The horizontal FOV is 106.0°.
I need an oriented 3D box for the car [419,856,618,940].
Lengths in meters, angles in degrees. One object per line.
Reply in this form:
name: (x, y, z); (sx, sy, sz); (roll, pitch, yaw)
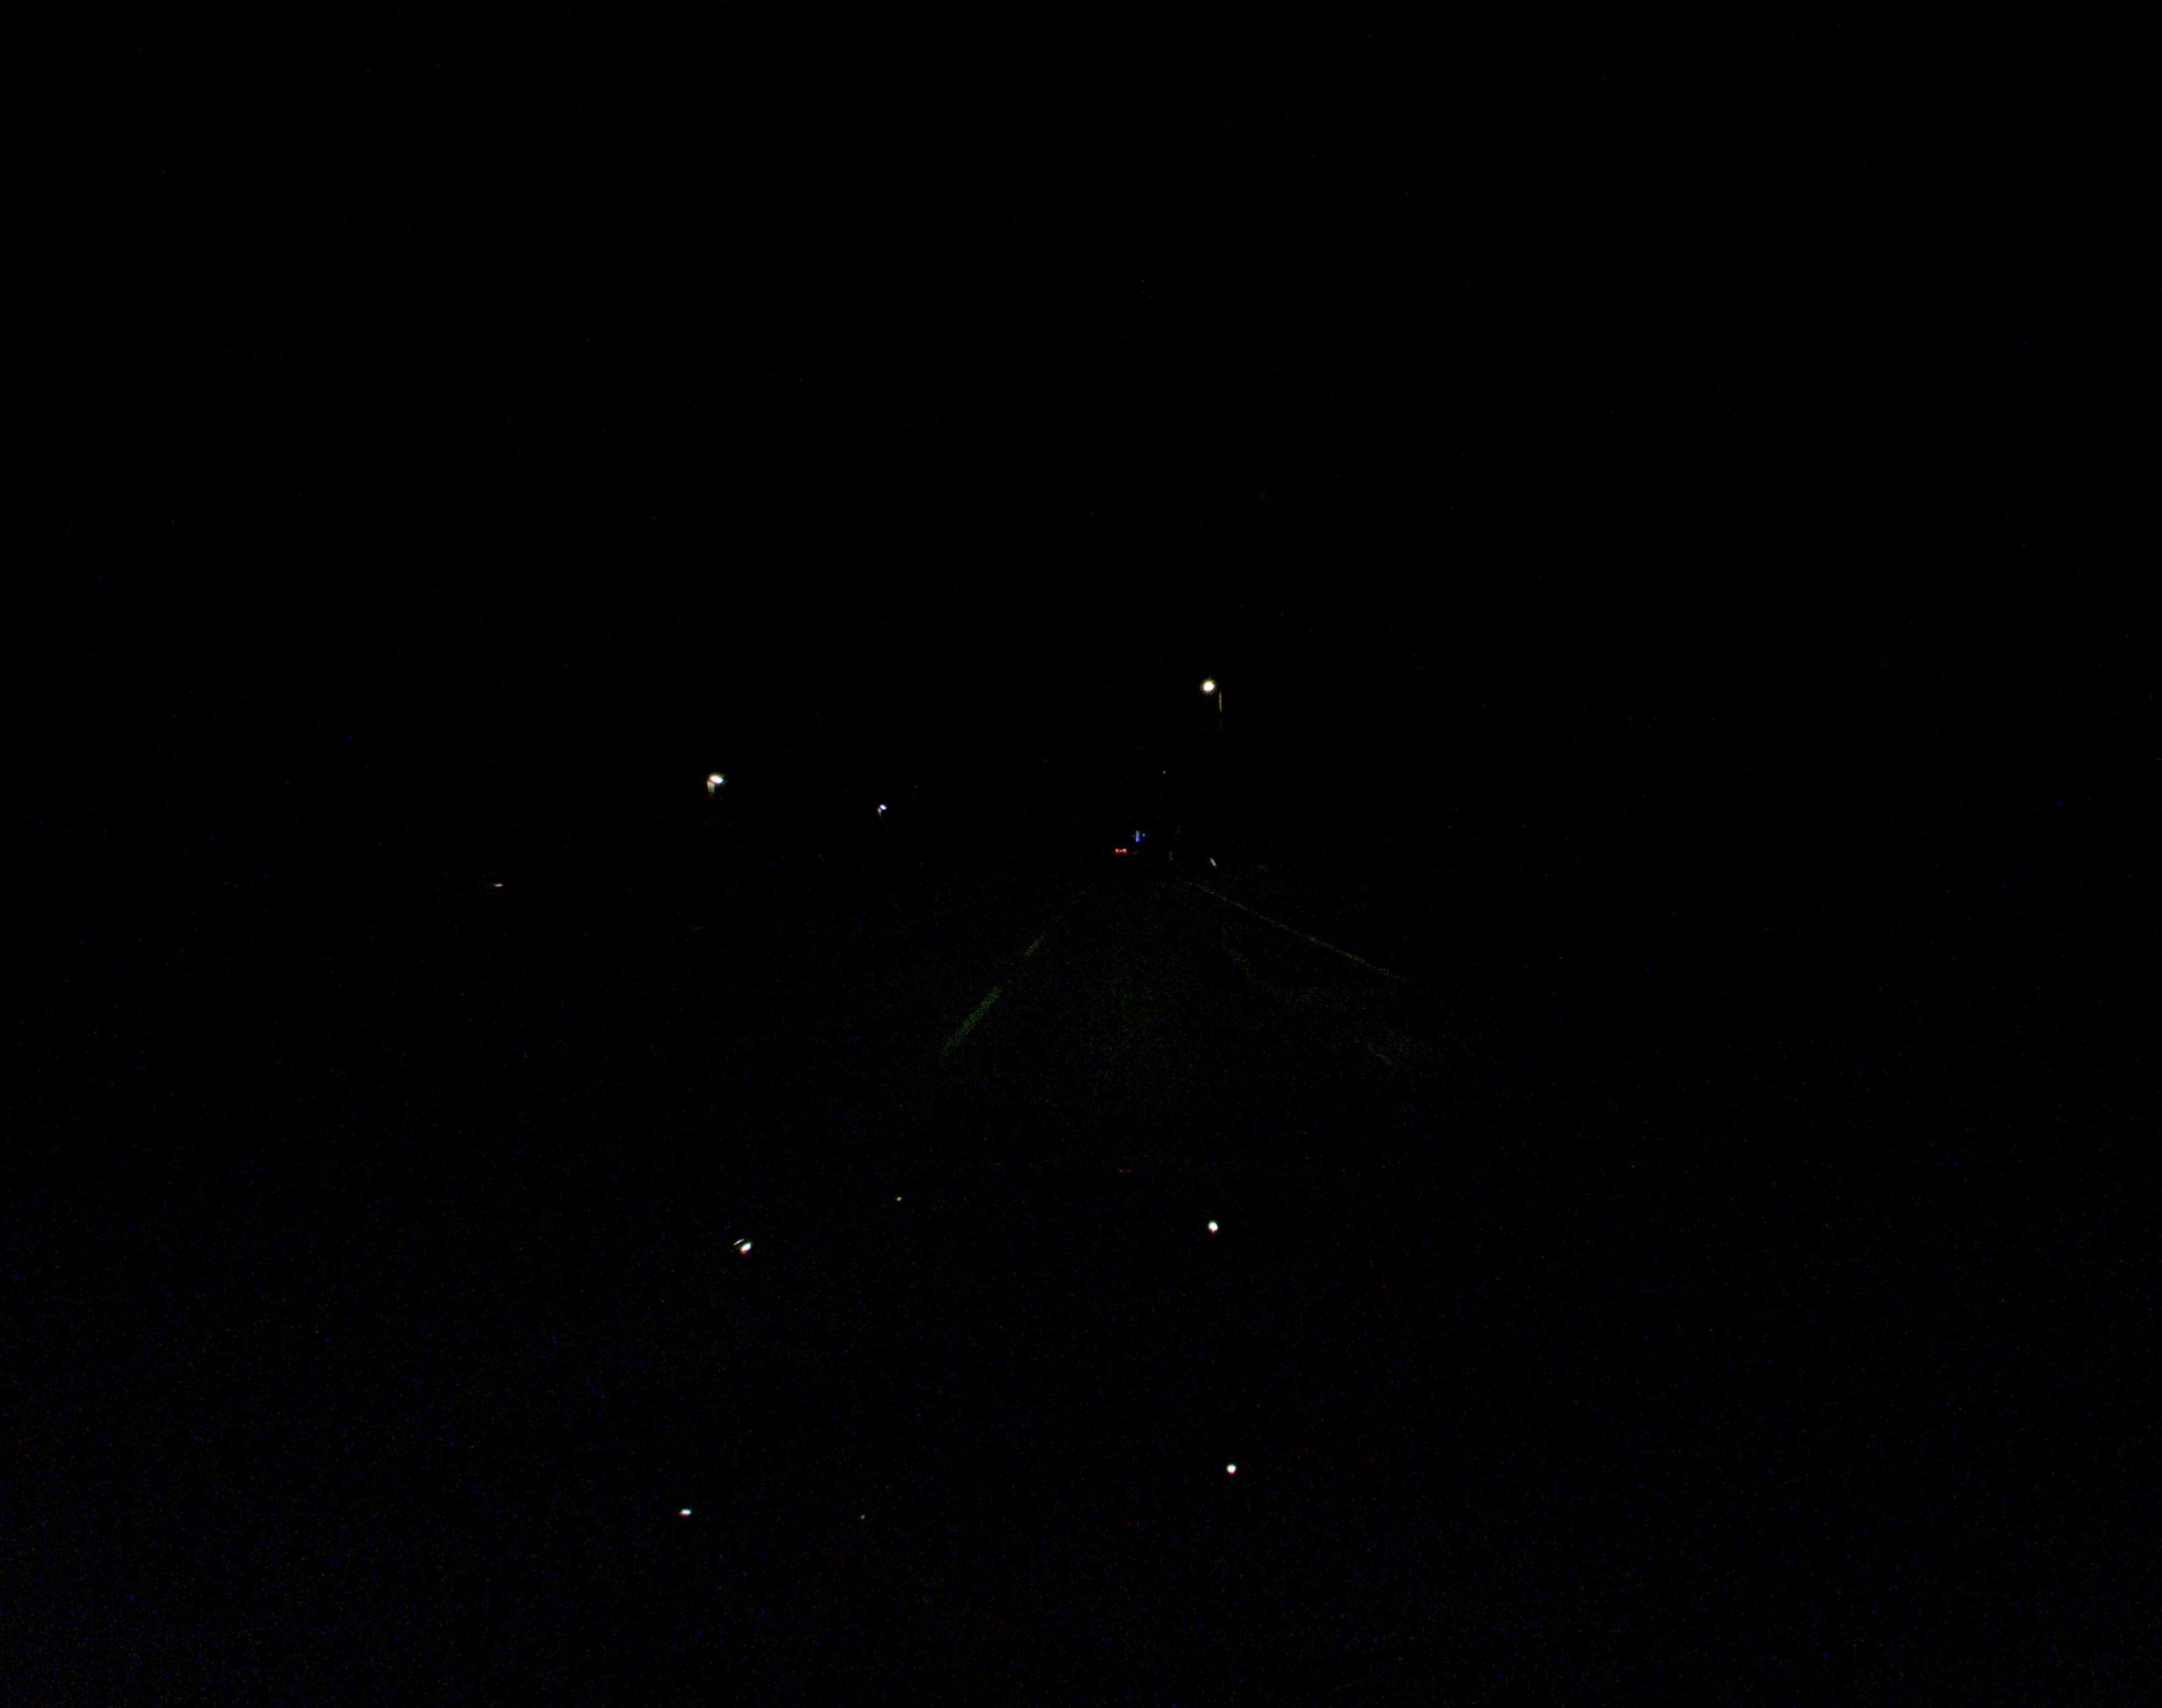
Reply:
car: (-14.674, 1.053, 21.664); (1.851, 1.904, 4.879); (-2, 0, 0)

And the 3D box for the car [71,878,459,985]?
car: (-15.019, 1.320, 15.584); (1.893, 1.522, 5.178); (-2, 0, 5)

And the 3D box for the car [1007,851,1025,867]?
car: (-9.585, 0.713, 120.173); (2.084, 2.013, 4.002); (-6, 0, 2)

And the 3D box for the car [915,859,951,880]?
car: (-12.644, 1.269, 69.814); (1.986, 1.628, 4.679); (-2, 0, 2)

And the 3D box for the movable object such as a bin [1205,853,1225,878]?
movable object such as a bin: (6.458, 0.546, 39.303); (0.829, 1.181, 0.830); (-2, 0, 5)

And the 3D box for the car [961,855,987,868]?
car: (-11.715, 0.814, 89.497); (1.986, 1.338, 5.435); (-2, 0, 2)

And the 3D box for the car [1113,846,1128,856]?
car: (6.989, -0.557, 144.657); (2.156, 1.583, 4.010); (-2, 0, -2)

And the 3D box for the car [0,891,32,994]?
car: (-15.577, 1.203, 10.090); (3.021, 1.326, 1.532); (-2, 0, -3)

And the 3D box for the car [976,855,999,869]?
car: (-10.950, 0.909, 95.421); (1.986, 1.530, 4.002); (-2, 0, 2)

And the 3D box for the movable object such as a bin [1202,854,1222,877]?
movable object such as a bin: (6.456, 0.560, 40.180); (0.853, 1.119, 0.841); (-2, 0, 5)
